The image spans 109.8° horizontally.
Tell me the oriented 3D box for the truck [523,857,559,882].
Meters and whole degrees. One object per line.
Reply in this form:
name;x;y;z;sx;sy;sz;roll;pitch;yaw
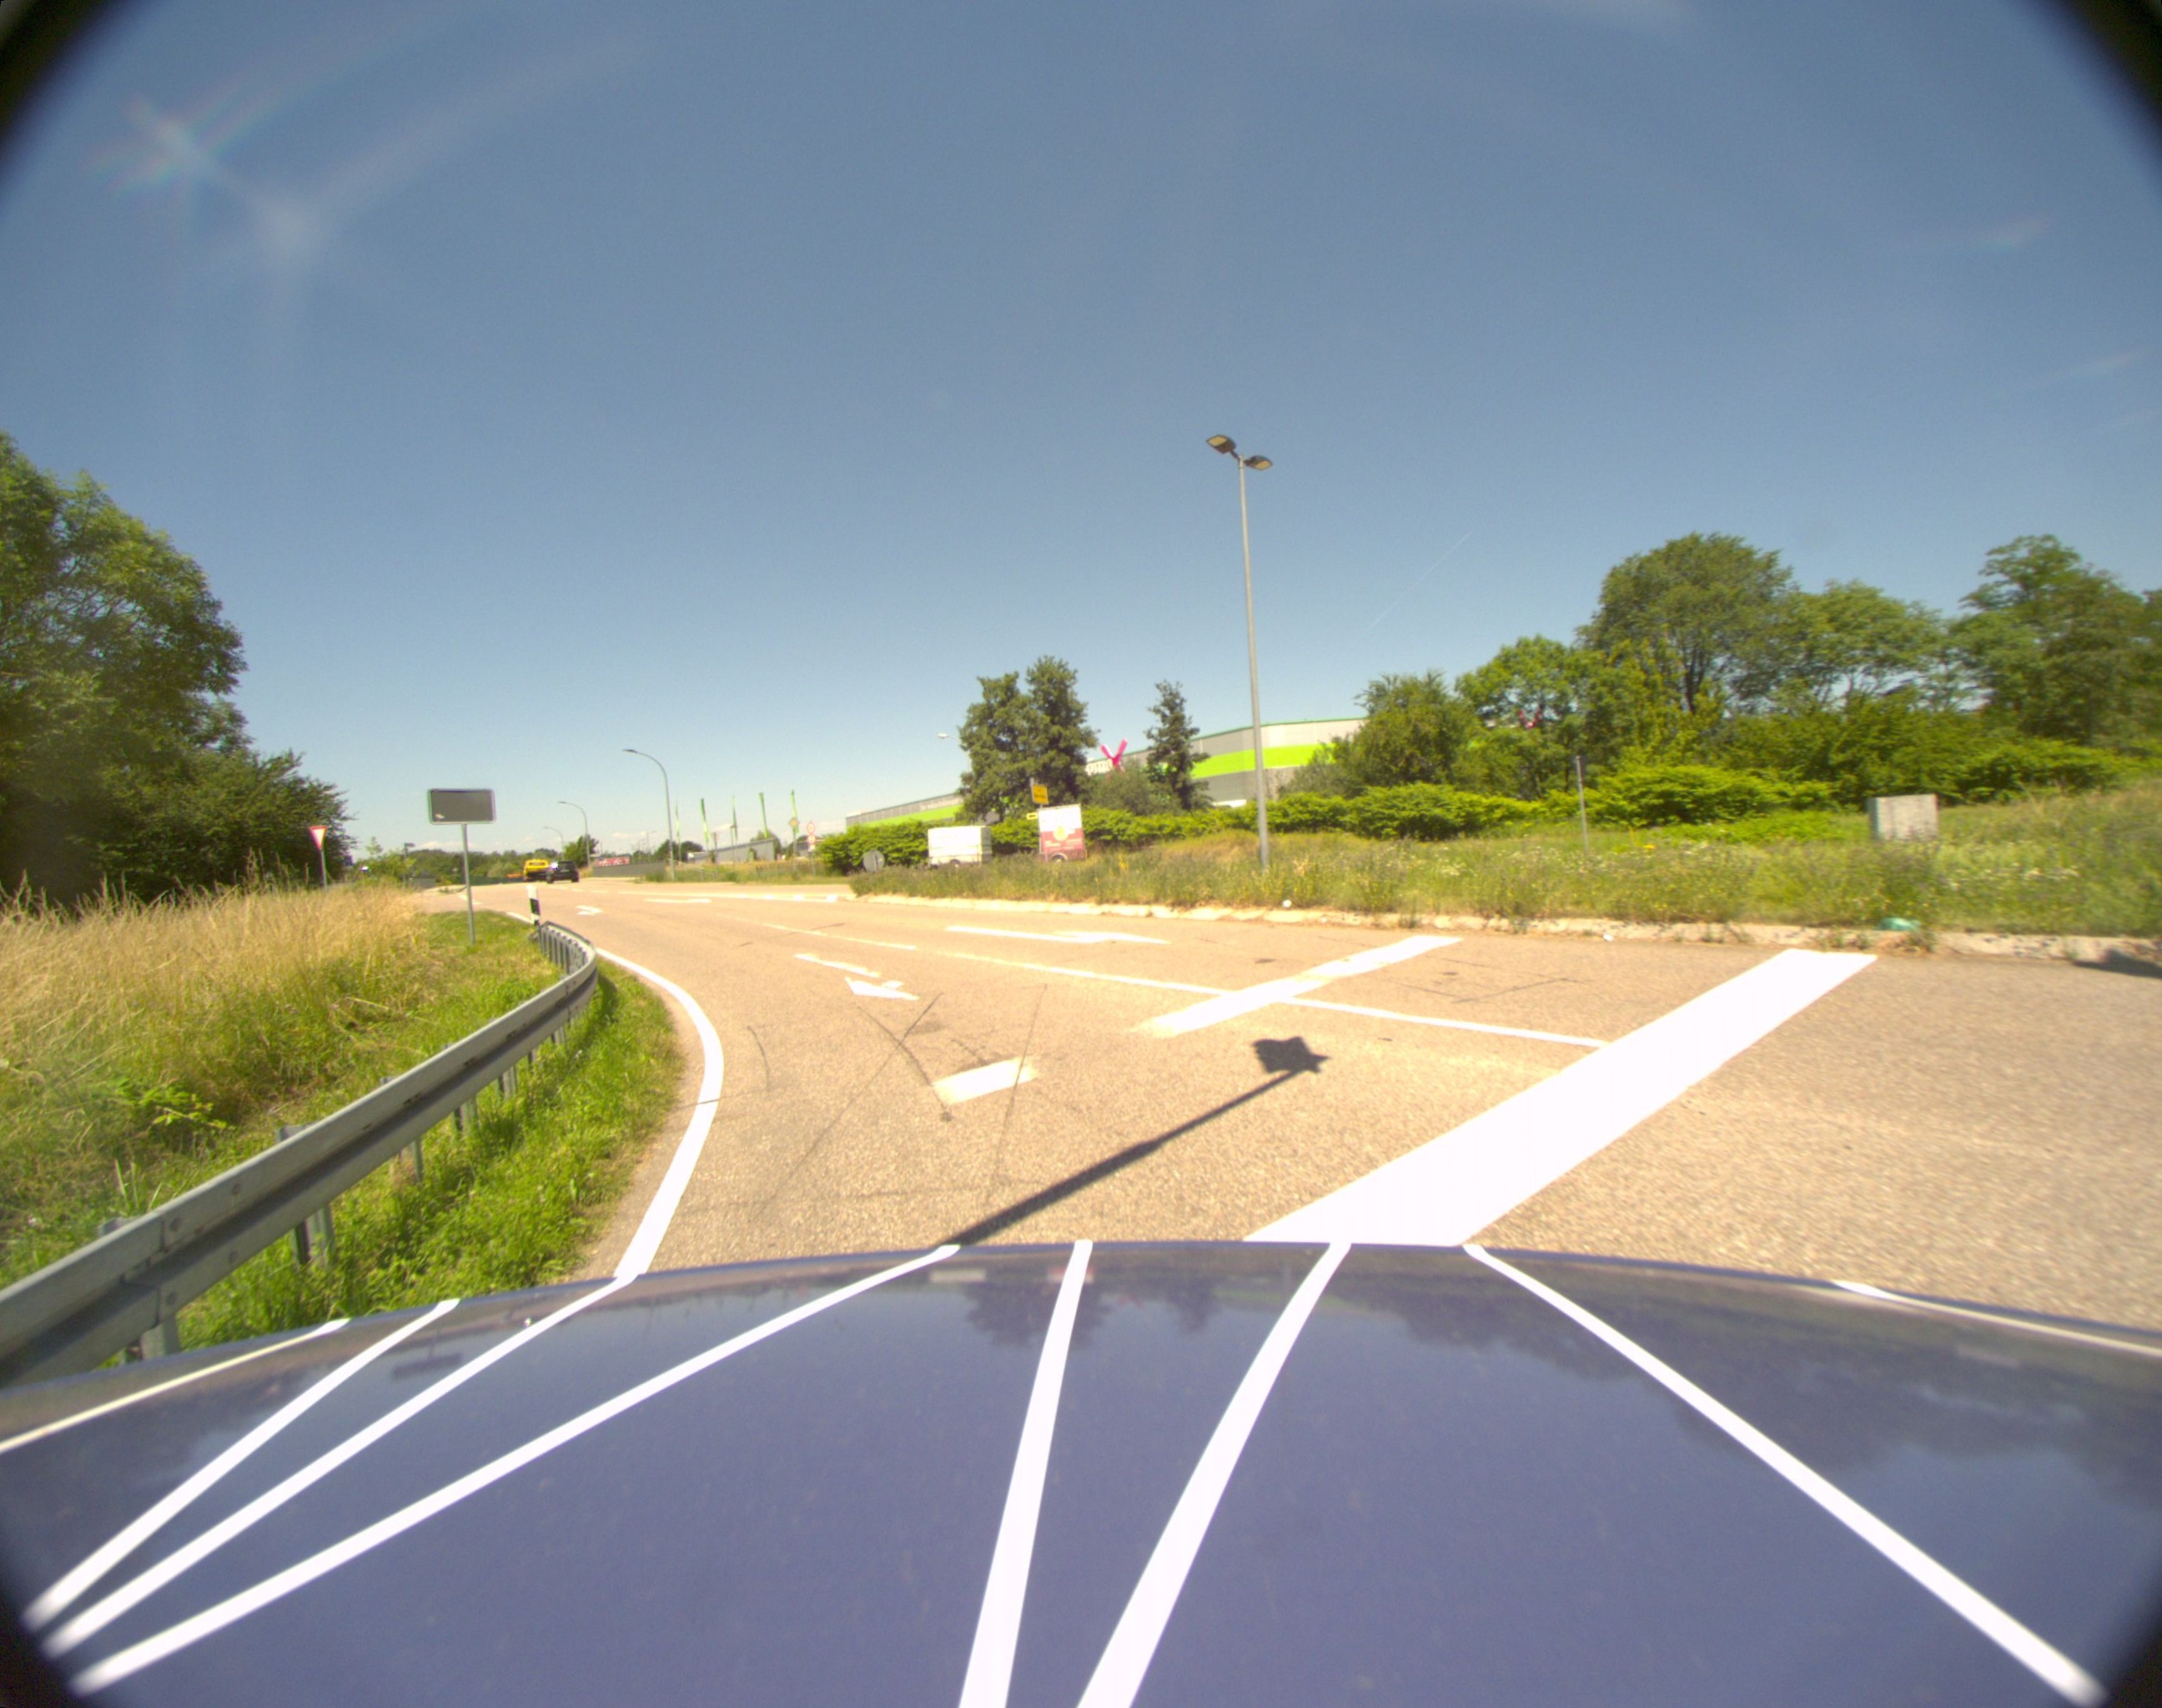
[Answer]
truck;-54.386;1.495;76.405;2.322;2.324;9.026;-3;2;-38

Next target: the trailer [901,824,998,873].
trailer;-6.187;-0.287;35.828;3.953;2.003;1.857;-3;3;14

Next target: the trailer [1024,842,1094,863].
trailer;-1.005;-0.072;34.954;2.847;0.735;1.566;-3;3;14

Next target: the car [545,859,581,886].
car;-37.925;1.295;55.585;1.911;1.693;3.988;-3;4;-37
